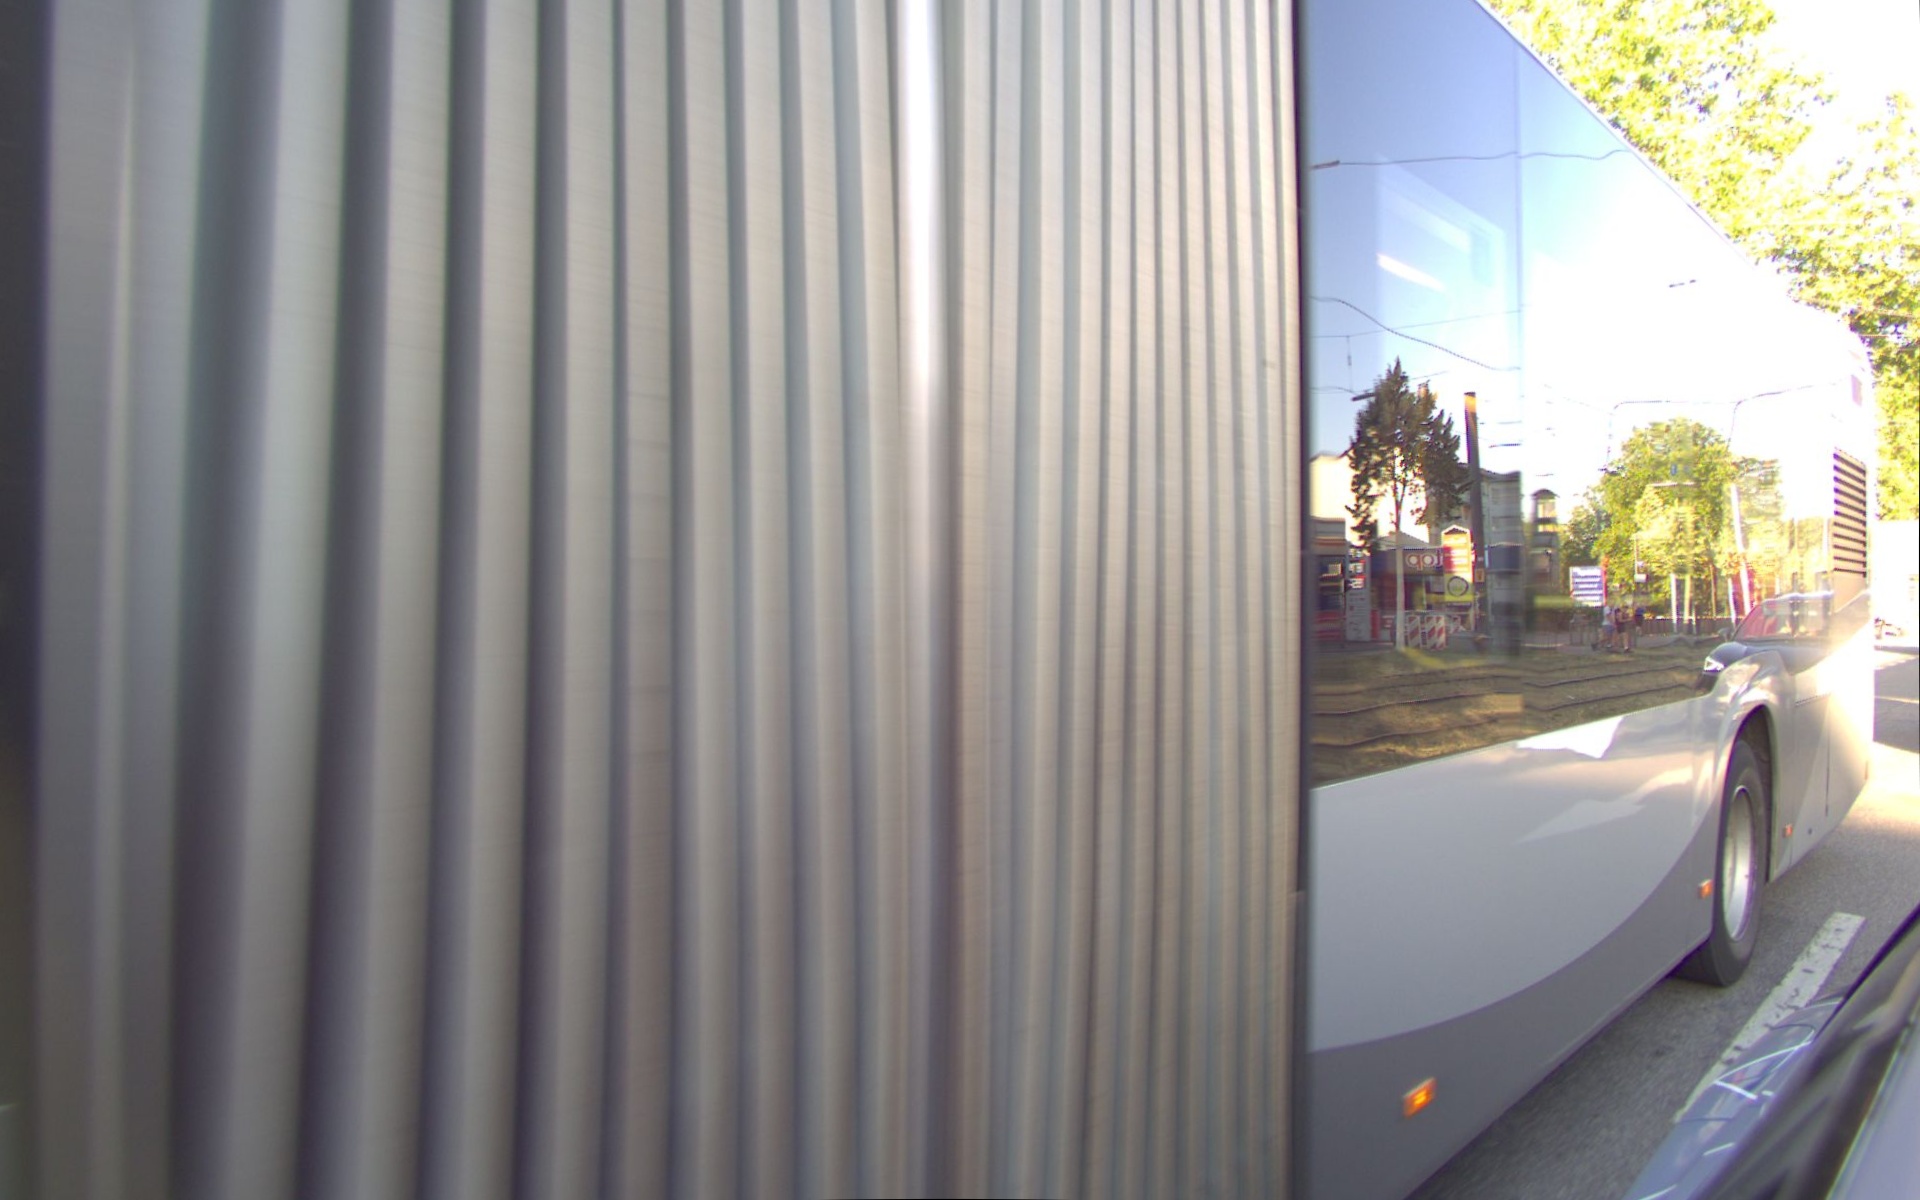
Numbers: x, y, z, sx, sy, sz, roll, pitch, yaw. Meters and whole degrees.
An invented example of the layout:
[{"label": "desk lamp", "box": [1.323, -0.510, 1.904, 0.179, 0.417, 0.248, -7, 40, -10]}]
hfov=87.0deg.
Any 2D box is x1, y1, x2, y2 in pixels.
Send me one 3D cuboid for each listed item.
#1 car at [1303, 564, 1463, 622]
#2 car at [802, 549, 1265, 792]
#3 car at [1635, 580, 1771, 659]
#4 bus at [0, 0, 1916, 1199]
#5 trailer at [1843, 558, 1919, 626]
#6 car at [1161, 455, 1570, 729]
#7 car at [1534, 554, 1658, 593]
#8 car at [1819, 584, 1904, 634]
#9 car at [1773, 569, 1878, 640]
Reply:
[{"label": "car", "box": [12.543, -0.180, 30.183, 1.824, 1.621, 4.027, 0, -1, -41]}, {"label": "car", "box": [0.743, 0.435, 8.673, 3.719, 1.607, 1.842, 0, 3, -41]}, {"label": "car", "box": [16.454, 0.380, 22.363, 3.562, 1.512, 1.573, 0, 5, -41]}, {"label": "bus", "box": [1.503, -0.138, 4.199, 8.699, 3.094, 2.743, 0, 1, -41]}, {"label": "trailer", "box": [37.798, -0.332, 41.371, 4.569, 2.620, 1.889, 0, 2, -41]}, {"label": "car", "box": [5.071, -0.173, 12.143, 5.684, 2.581, 2.022, 0, 6, -41]}, {"label": "car", "box": [26.793, -1.077, 42.753, 1.770, 1.570, 4.120, 0, 0, -39]}, {"label": "car", "box": [32.898, 0.292, 36.890, 3.930, 1.650, 1.799, 0, 2, -41]}, {"label": "car", "box": [28.003, 0.095, 32.698, 4.483, 2.104, 1.888, 0, 2, -41]}]
